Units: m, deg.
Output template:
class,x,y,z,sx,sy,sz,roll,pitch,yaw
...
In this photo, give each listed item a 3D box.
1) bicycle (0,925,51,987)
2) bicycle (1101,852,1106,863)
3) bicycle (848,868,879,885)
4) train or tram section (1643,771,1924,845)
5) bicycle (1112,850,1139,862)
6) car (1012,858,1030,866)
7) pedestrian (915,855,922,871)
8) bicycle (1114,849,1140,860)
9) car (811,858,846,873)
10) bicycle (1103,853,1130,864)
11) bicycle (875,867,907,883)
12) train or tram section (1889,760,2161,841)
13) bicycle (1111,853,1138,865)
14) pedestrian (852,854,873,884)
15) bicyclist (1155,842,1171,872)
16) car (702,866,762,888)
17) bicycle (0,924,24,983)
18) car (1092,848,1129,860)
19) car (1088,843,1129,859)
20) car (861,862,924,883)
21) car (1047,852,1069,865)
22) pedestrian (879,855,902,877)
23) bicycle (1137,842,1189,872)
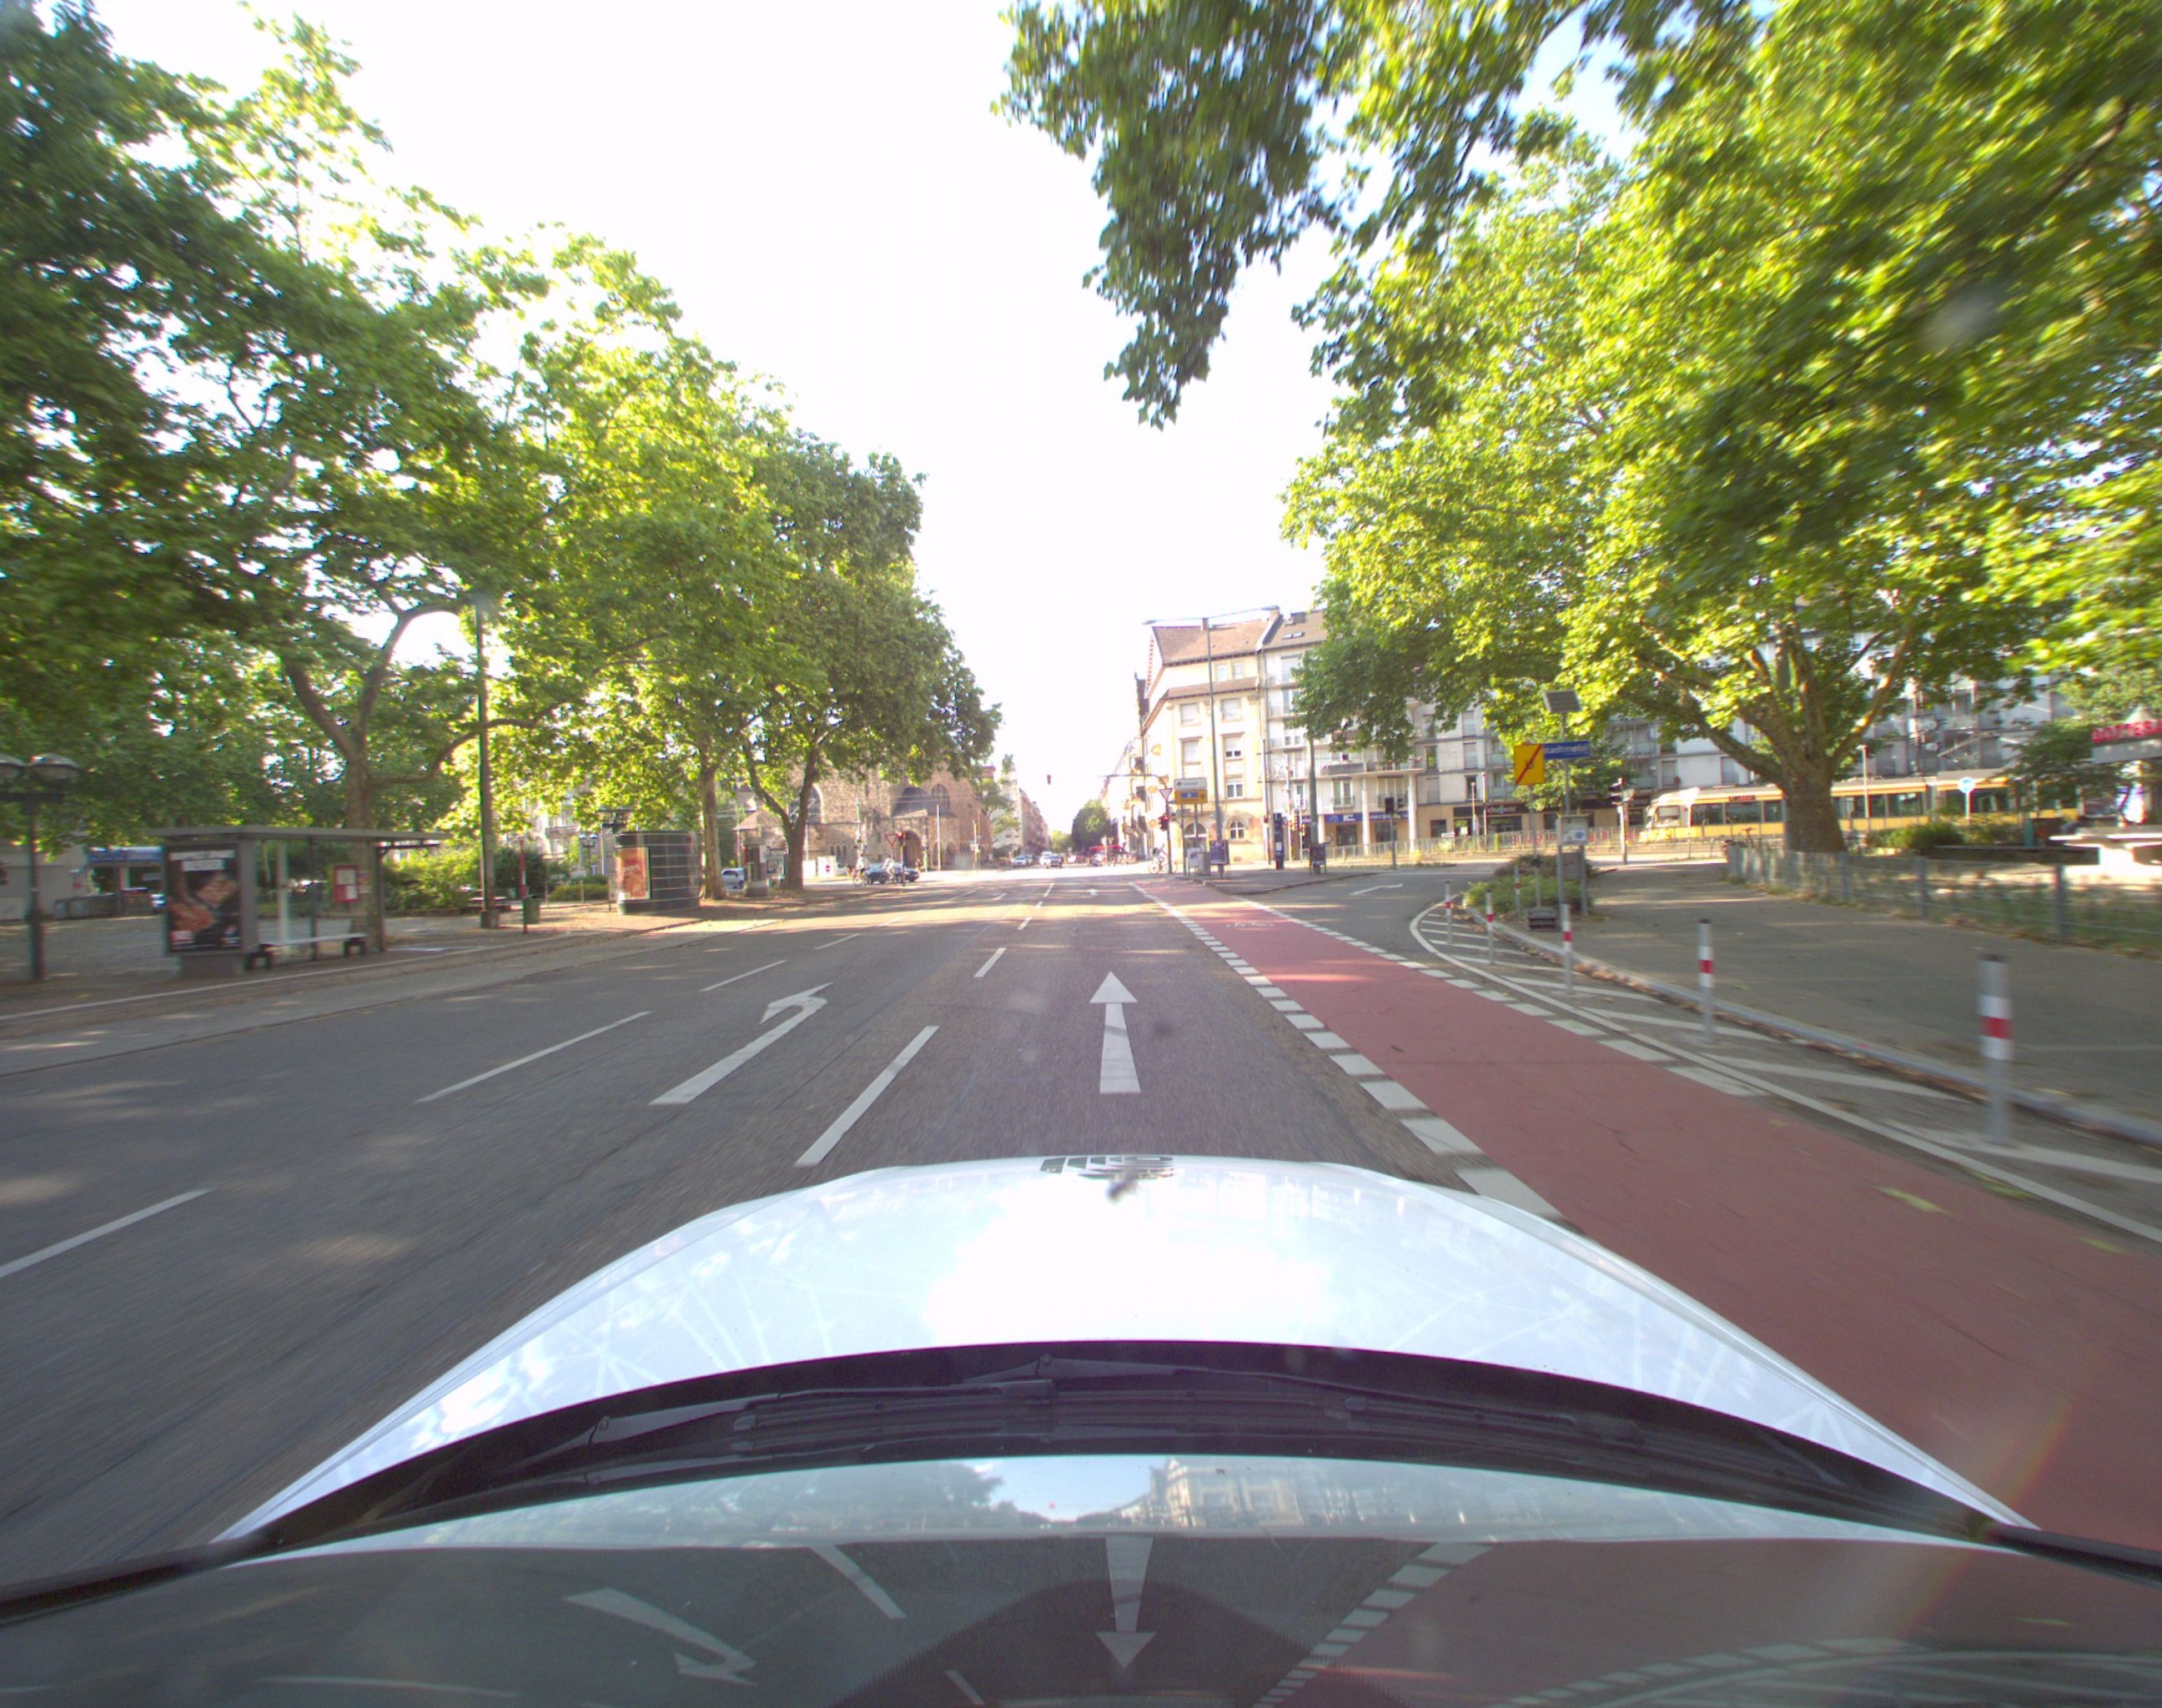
class,x,y,z,sx,sy,sz,roll,pitch,yaw
bicycle,-18.344,1.719,13.070,0.546,0.992,2.223,-1,-1,11
bicycle,2.461,0.388,88.654,0.506,1.203,2.092,-1,-1,2
bicycle,-12.528,1.296,46.909,1.766,0.982,0.661,-1,-1,32
train or tram section,39.627,-2.455,46.762,11.682,3.640,3.437,-1,-1,25
bicycle,4.715,0.238,86.706,2.797,1.203,0.516,0,-1,-4
car,-8.877,1.174,120.818,1.581,1.144,3.399,-1,-1,18
pedestrian,-17.662,0.979,88.305,0.608,1.790,0.711,-1,-1,0
bicycle,4.934,0.078,87.246,2.797,1.203,0.509,0,-1,-4
car,-30.893,1.378,99.594,1.844,1.838,4.023,-1,-1,25
bicycle,3.775,0.488,85.978,2.797,1.203,0.516,0,-1,-4
bicycle,-11.299,1.237,48.334,1.764,0.895,0.755,-2,0,30
train or tram section,50.454,-2.667,42.205,11.682,3.640,3.437,-1,-1,25
bicycle,4.541,0.511,85.156,2.797,1.203,0.509,0,-1,-4
pedestrian,-12.587,0.855,46.947,0.981,1.708,0.632,-1,-1,32
bicyclist,4.618,0.183,45.930,0.796,1.656,0.937,-1,-1,11
car,-26.236,1.738,61.281,3.952,1.556,1.863,-1,-1,22
bicycle,-18.920,1.712,13.159,0.546,0.992,2.223,-1,-1,11
car,3.712,0.010,101.863,4.447,1.538,1.856,0,-1,-33
car,3.564,-0.433,105.648,5.025,2.014,2.143,0,-1,-36
car,-12.902,1.300,55.809,3.893,1.397,1.661,-1,-1,20
car,-2.697,0.534,94.563,1.574,1.462,3.197,-1,-1,17
pedestrian,-11.306,0.729,48.339,1.038,1.278,0.797,-1,-1,30
bicycle,4.622,0.191,45.922,2.823,1.656,0.833,-1,-1,11
